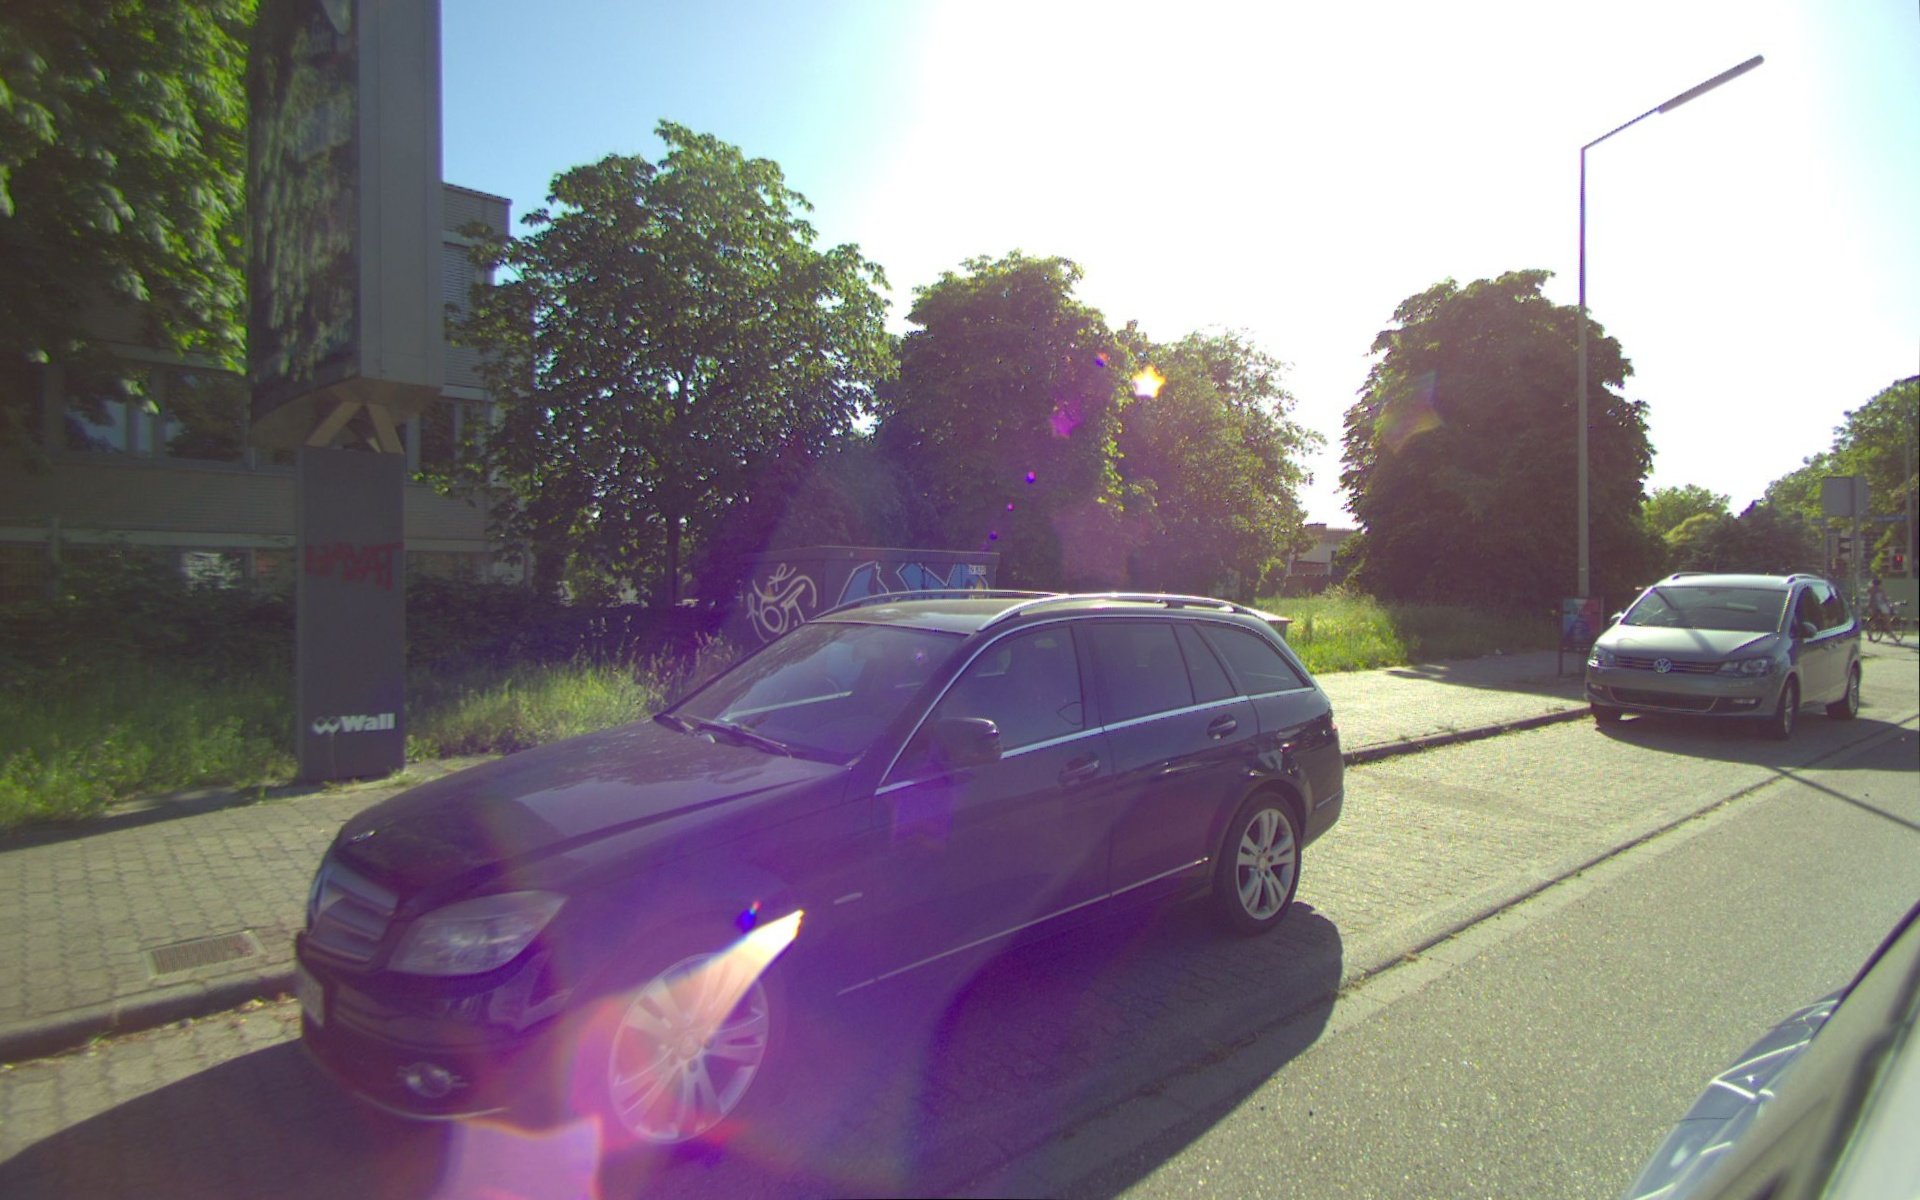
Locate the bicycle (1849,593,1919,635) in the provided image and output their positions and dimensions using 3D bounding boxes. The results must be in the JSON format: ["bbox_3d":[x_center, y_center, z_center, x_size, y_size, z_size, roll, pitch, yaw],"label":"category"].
[{"bbox_3d":[26.396,0.386,28.321,2.891,1.140,0.905,0,-1,-17],"label":"bicycle"}]

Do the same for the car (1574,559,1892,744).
[{"bbox_3d":[9.079,0.439,11.753,4.529,1.743,1.878,-1,2,-39],"label":"car"}]

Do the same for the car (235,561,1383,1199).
[{"bbox_3d":[-0.175,0.636,4.108,4.348,1.437,1.811,0,0,-42],"label":"car"}]

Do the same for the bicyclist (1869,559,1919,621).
[{"bbox_3d":[26.375,-0.271,28.328,1.165,1.714,0.894,0,-1,-17],"label":"bicyclist"}]
